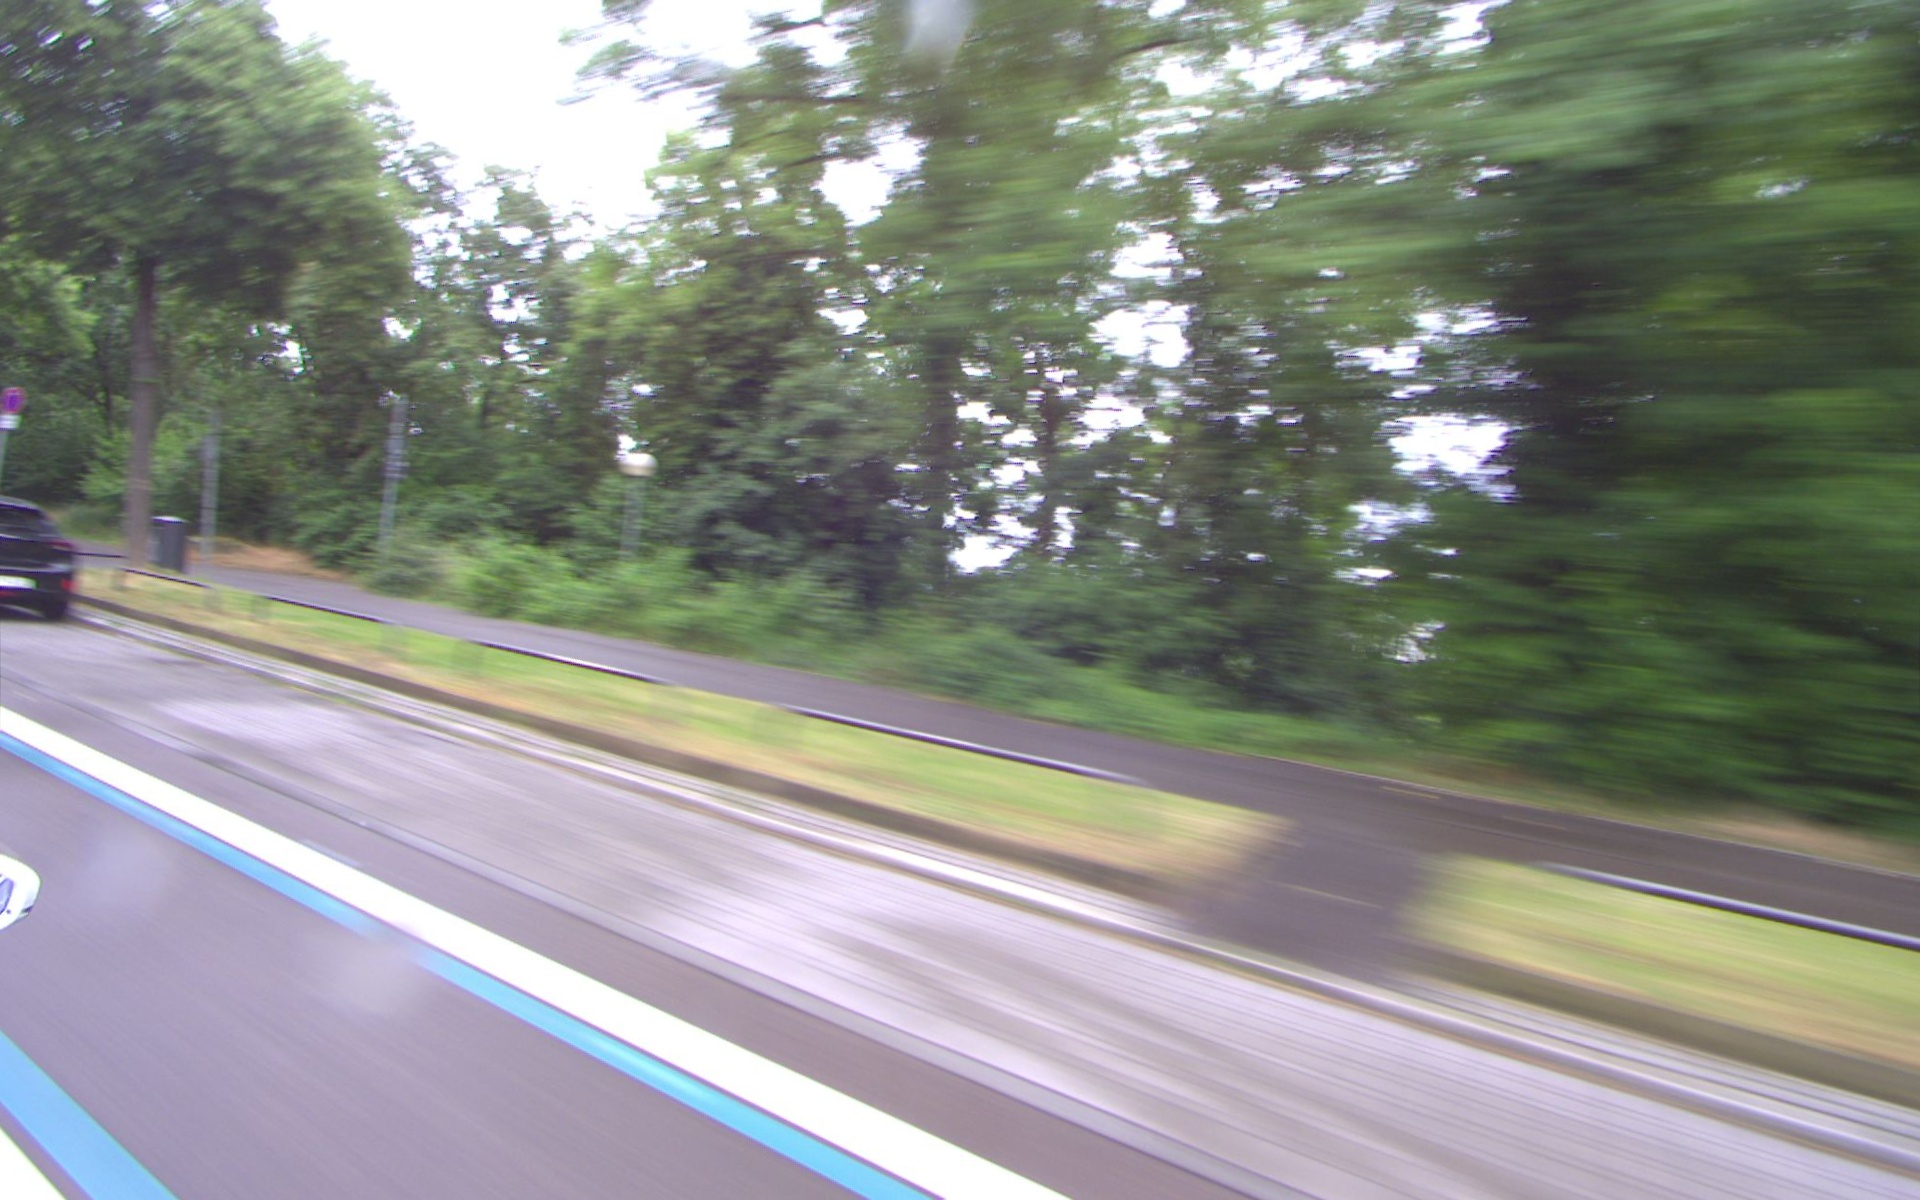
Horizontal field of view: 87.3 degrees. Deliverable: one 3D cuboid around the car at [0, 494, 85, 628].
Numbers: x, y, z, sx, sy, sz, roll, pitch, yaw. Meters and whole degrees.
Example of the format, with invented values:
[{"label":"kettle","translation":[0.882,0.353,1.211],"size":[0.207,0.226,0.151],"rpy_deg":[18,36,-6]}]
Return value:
[{"label":"car","translation":[-12.826,-0.669,12.602],"size":[3.932,1.495,1.697],"rpy_deg":[7,0,33]}]
